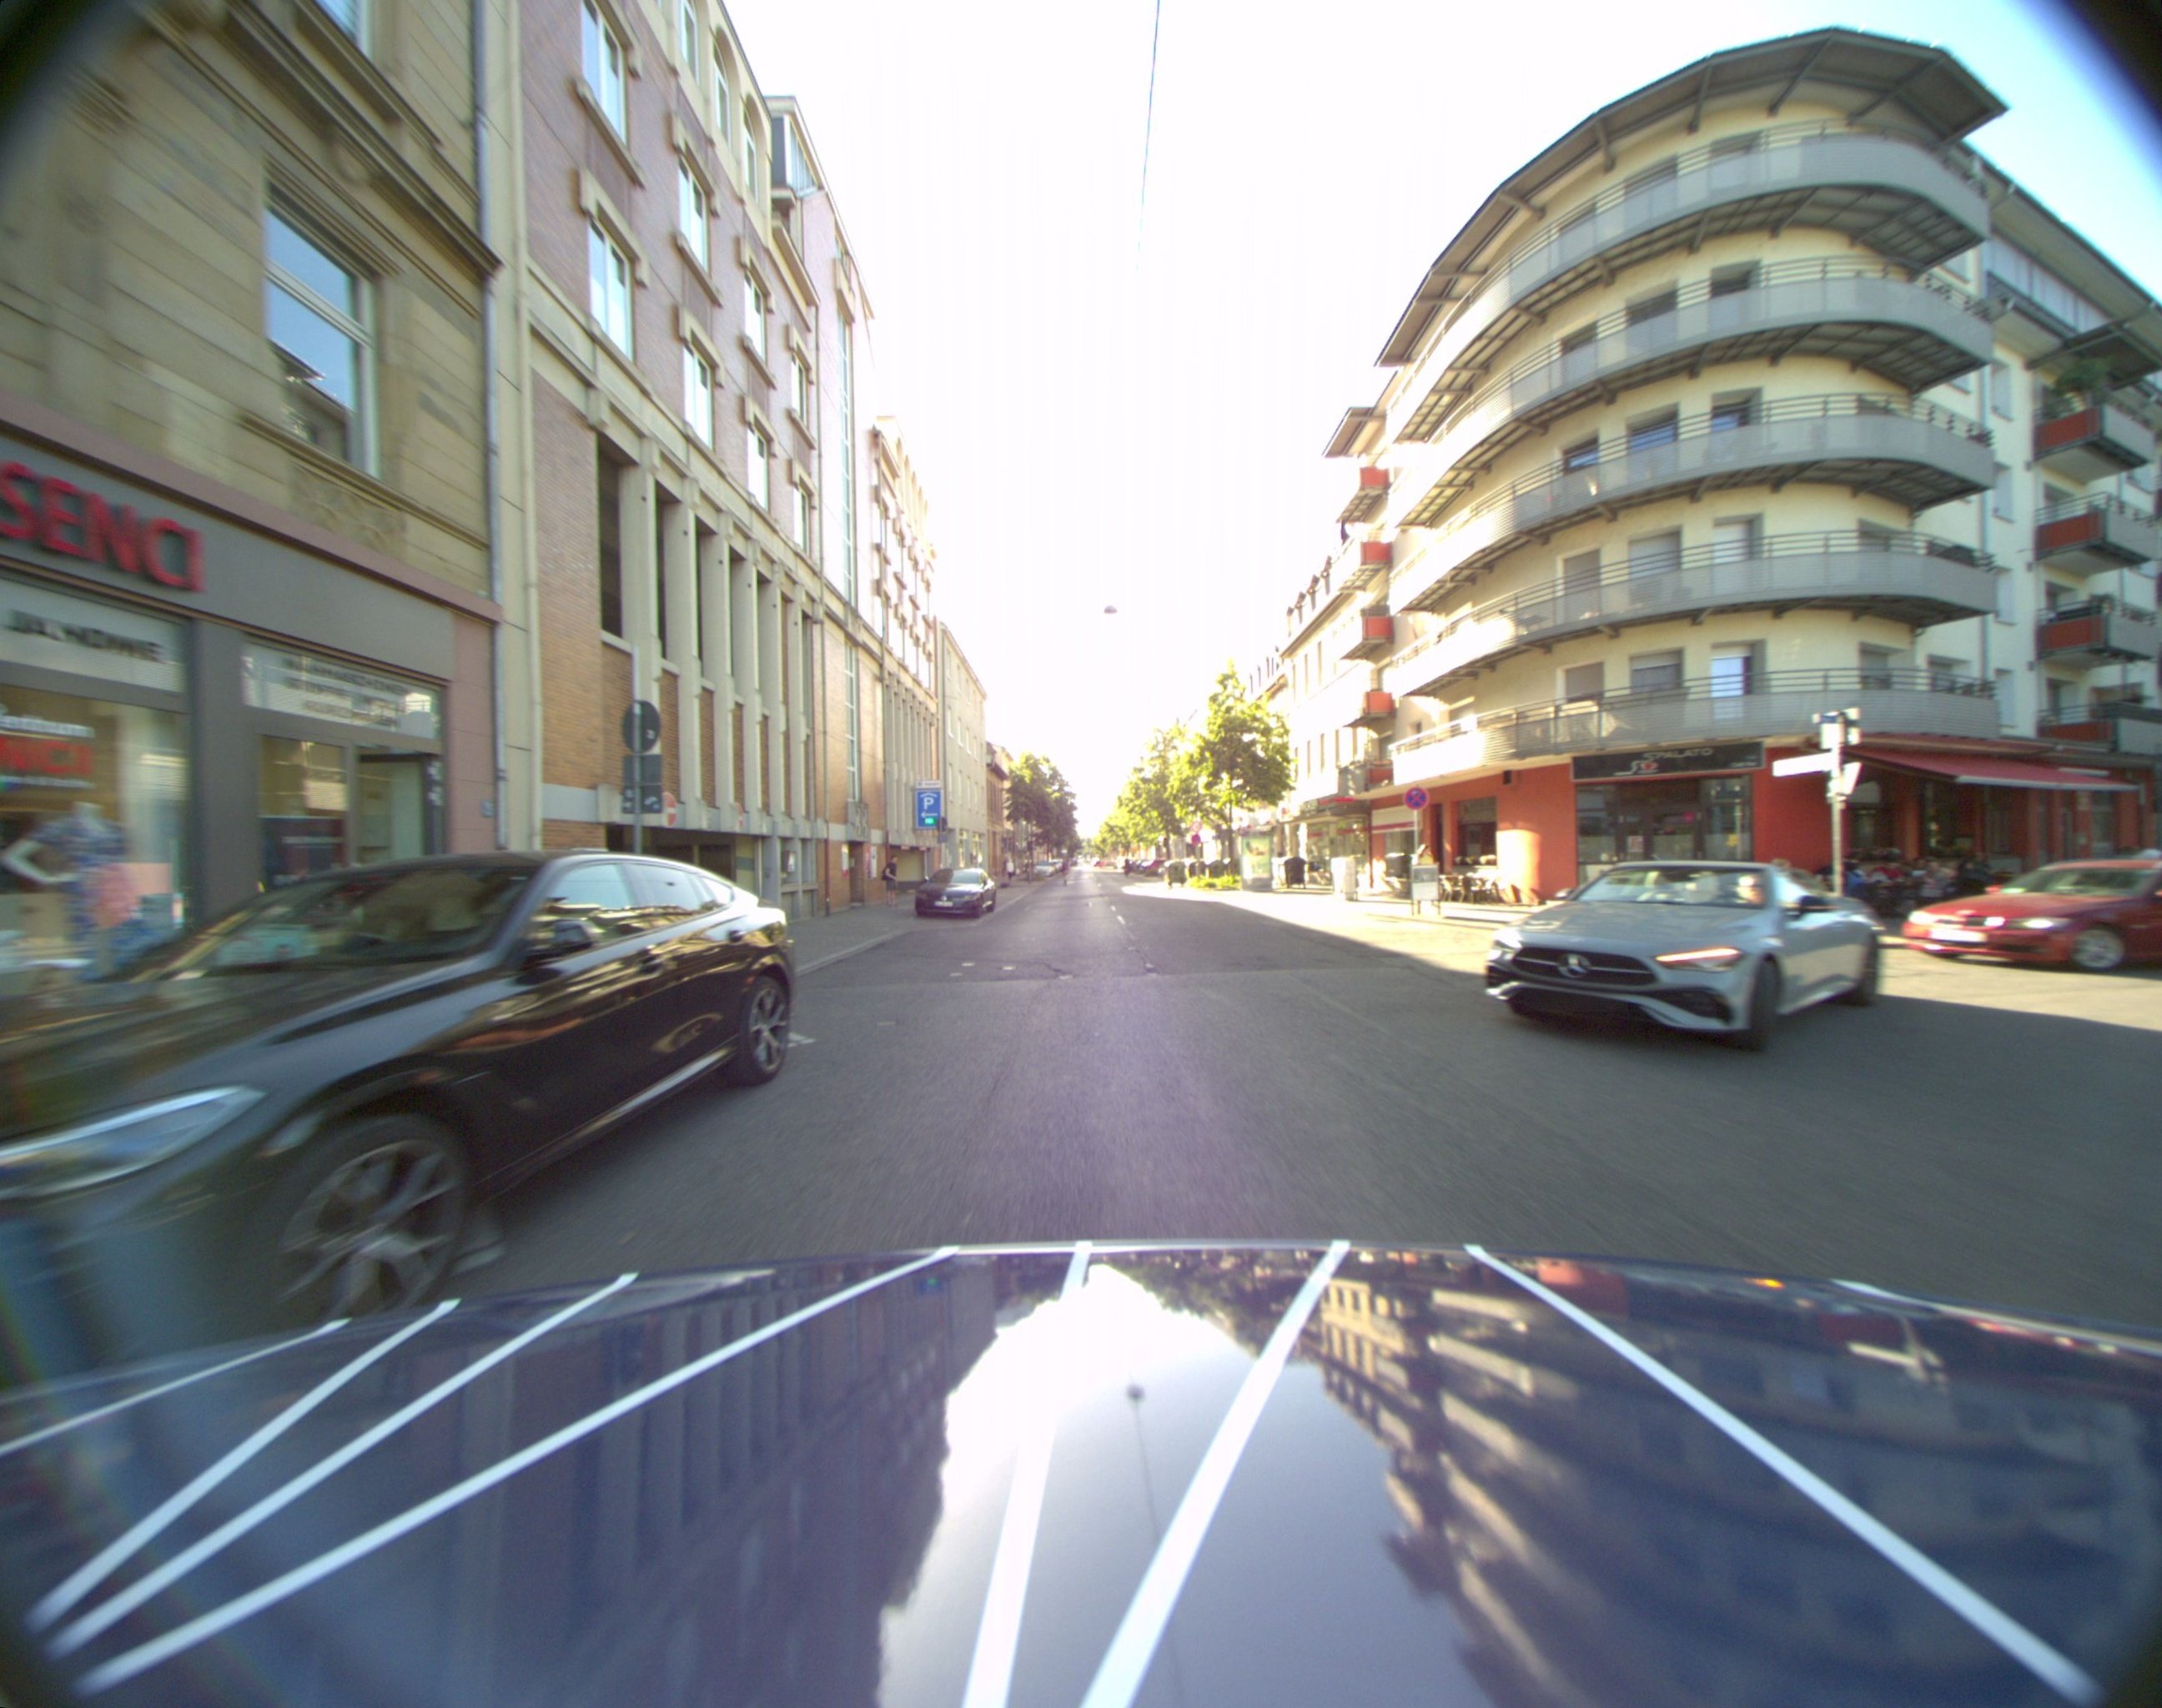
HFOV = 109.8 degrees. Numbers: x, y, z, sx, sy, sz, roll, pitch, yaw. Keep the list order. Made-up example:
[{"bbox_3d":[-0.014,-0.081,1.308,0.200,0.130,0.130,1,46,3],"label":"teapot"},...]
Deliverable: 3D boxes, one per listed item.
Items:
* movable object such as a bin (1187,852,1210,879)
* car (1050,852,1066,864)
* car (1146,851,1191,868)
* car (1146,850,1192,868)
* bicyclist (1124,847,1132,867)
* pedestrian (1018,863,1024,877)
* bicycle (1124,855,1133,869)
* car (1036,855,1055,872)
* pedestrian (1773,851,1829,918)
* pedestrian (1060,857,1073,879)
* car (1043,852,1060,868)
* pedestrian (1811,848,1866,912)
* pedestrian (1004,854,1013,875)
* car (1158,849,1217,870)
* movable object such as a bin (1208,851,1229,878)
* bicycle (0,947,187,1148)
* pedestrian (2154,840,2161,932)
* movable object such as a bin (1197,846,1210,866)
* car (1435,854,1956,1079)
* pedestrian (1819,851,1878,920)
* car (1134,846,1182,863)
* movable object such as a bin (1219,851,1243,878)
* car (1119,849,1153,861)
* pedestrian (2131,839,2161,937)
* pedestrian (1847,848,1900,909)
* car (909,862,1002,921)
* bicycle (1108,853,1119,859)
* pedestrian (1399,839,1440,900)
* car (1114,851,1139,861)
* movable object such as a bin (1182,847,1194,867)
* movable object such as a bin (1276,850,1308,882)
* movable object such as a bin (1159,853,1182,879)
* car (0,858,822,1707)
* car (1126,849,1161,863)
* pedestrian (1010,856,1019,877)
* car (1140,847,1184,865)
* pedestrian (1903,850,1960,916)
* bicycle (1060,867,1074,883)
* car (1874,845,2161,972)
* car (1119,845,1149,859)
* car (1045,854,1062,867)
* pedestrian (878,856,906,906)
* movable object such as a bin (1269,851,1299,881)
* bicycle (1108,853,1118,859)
[{"bbox_3d":[6.579,0.649,42.607,1.045,1.463,1.143,-1,1,-1],"label":"movable object such as a bin"},{"bbox_3d":[-3.145,0.532,105.414,1.999,1.680,4.516,2,0,0],"label":"car"},{"bbox_3d":[7.750,0.481,67.645,3.850,1.420,1.789,-2,1,2],"label":"car"},{"bbox_3d":[7.504,0.410,65.117,3.757,1.460,1.739,-2,1,0],"label":"car"},{"bbox_3d":[4.008,0.271,64.786,0.698,1.643,1.036,-1,1,2],"label":"bicyclist"},{"bbox_3d":[-4.581,1.216,58.283,0.394,1.027,0.739,2,1,-1],"label":"pedestrian"},{"bbox_3d":[4.015,0.706,64.777,0.707,1.140,1.968,-1,1,3],"label":"bicycle"},{"bbox_3d":[-3.416,0.885,73.427,1.618,1.520,3.060,1,1,-1],"label":"car"},{"bbox_3d":[14.924,0.618,15.759,0.576,1.332,0.698,-1,1,-28],"label":"pedestrian"},{"bbox_3d":[-0.917,0.895,48.621,0.804,1.381,0.931,-2,0,-1],"label":"pedestrian"},{"bbox_3d":[-3.077,0.620,79.532,1.618,1.520,4.234,2,0,0],"label":"car"},{"bbox_3d":[16.231,0.546,16.278,0.576,1.332,0.698,-1,1,-28],"label":"pedestrian"},{"bbox_3d":[-6.064,0.865,63.307,0.624,1.755,0.771,1,1,1],"label":"pedestrian"},{"bbox_3d":[8.046,0.388,57.724,4.213,1.460,1.740,-2,1,2],"label":"car"},{"bbox_3d":[7.705,0.557,42.624,0.966,1.463,1.143,-1,1,-1],"label":"movable object such as a bin"},{"bbox_3d":[-6.651,1.219,4.531,0.359,1.079,1.941,1,0,0],"label":"bicycle"},{"bbox_3d":[18.346,0.525,12.532,0.576,1.526,0.698,-2,1,-41],"label":"pedestrian"},{"bbox_3d":[8.011,0.130,49.727,0.756,1.333,0.805,-1,1,-1],"label":"movable object such as a bin"},{"bbox_3d":[5.793,0.722,6.994,5.126,1.415,1.995,0,1,-30],"label":"car"},{"bbox_3d":[15.203,0.608,15.061,0.576,1.332,0.698,-1,1,-28],"label":"pedestrian"},{"bbox_3d":[7.726,0.064,76.657,4.505,1.450,1.790,-3,1,-2],"label":"car"},{"bbox_3d":[8.405,0.563,42.614,1.045,1.463,1.143,-1,1,-1],"label":"movable object such as a bin"},{"bbox_3d":[7.344,0.135,101.469,4.377,1.561,1.946,-2,0,1],"label":"car"},{"bbox_3d":[17.063,0.524,11.970,0.543,1.526,0.551,-2,1,-41],"label":"pedestrian"},{"bbox_3d":[17.821,0.531,17.098,0.576,1.332,0.698,-1,1,-28],"label":"pedestrian"},{"bbox_3d":[-3.715,1.064,23.383,1.922,1.470,4.964,3,0,1],"label":"car"},{"bbox_3d":[6.627,0.457,154.324,2.006,1.023,0.473,-3,1,-13],"label":"bicycle"},{"bbox_3d":[9.449,0.430,21.221,0.666,1.650,1.036,-1,1,0],"label":"pedestrian"},{"bbox_3d":[7.373,0.285,123.324,3.788,1.455,1.709,-2,0,-2],"label":"car"},{"bbox_3d":[7.016,0.183,49.700,0.636,1.333,0.805,-1,1,-1],"label":"movable object such as a bin"},{"bbox_3d":[9.535,0.540,34.341,1.045,1.396,1.314,-1,1,-1],"label":"movable object such as a bin"},{"bbox_3d":[5.026,0.664,42.744,1.045,1.463,1.452,-1,1,-1],"label":"movable object such as a bin"},{"bbox_3d":[-3.178,0.938,3.719,1.978,1.715,4.824,-3,0,2],"label":"car"},{"bbox_3d":[7.187,0.197,87.512,3.790,1.450,1.780,-2,0,-3],"label":"car"},{"bbox_3d":[-5.100,0.951,58.372,0.582,1.550,1.020,2,1,-1],"label":"pedestrian"},{"bbox_3d":[7.440,0.165,70.145,3.928,1.477,1.771,-2,1,2],"label":"car"},{"bbox_3d":[17.808,0.595,15.928,0.698,1.332,0.576,0,1,38],"label":"pedestrian"},{"bbox_3d":[-0.892,1.322,48.592,0.805,0.958,1.996,-2,0,-1],"label":"bicycle"},{"bbox_3d":[13.864,0.649,10.177,4.734,1.506,1.920,0,1,-5],"label":"car"},{"bbox_3d":[7.681,-0.324,110.375,4.116,1.825,2.038,-2,0,1],"label":"car"},{"bbox_3d":[-3.276,0.735,92.044,1.888,1.518,4.233,1,0,0],"label":"car"},{"bbox_3d":[-6.273,0.880,25.215,0.693,1.626,0.889,1,1,0],"label":"pedestrian"},{"bbox_3d":[9.510,0.547,35.658,1.045,1.337,1.314,-1,1,-1],"label":"movable object such as a bin"},{"bbox_3d":[6.512,0.432,154.799,2.006,1.023,0.473,-3,1,-13],"label":"bicycle"}]
